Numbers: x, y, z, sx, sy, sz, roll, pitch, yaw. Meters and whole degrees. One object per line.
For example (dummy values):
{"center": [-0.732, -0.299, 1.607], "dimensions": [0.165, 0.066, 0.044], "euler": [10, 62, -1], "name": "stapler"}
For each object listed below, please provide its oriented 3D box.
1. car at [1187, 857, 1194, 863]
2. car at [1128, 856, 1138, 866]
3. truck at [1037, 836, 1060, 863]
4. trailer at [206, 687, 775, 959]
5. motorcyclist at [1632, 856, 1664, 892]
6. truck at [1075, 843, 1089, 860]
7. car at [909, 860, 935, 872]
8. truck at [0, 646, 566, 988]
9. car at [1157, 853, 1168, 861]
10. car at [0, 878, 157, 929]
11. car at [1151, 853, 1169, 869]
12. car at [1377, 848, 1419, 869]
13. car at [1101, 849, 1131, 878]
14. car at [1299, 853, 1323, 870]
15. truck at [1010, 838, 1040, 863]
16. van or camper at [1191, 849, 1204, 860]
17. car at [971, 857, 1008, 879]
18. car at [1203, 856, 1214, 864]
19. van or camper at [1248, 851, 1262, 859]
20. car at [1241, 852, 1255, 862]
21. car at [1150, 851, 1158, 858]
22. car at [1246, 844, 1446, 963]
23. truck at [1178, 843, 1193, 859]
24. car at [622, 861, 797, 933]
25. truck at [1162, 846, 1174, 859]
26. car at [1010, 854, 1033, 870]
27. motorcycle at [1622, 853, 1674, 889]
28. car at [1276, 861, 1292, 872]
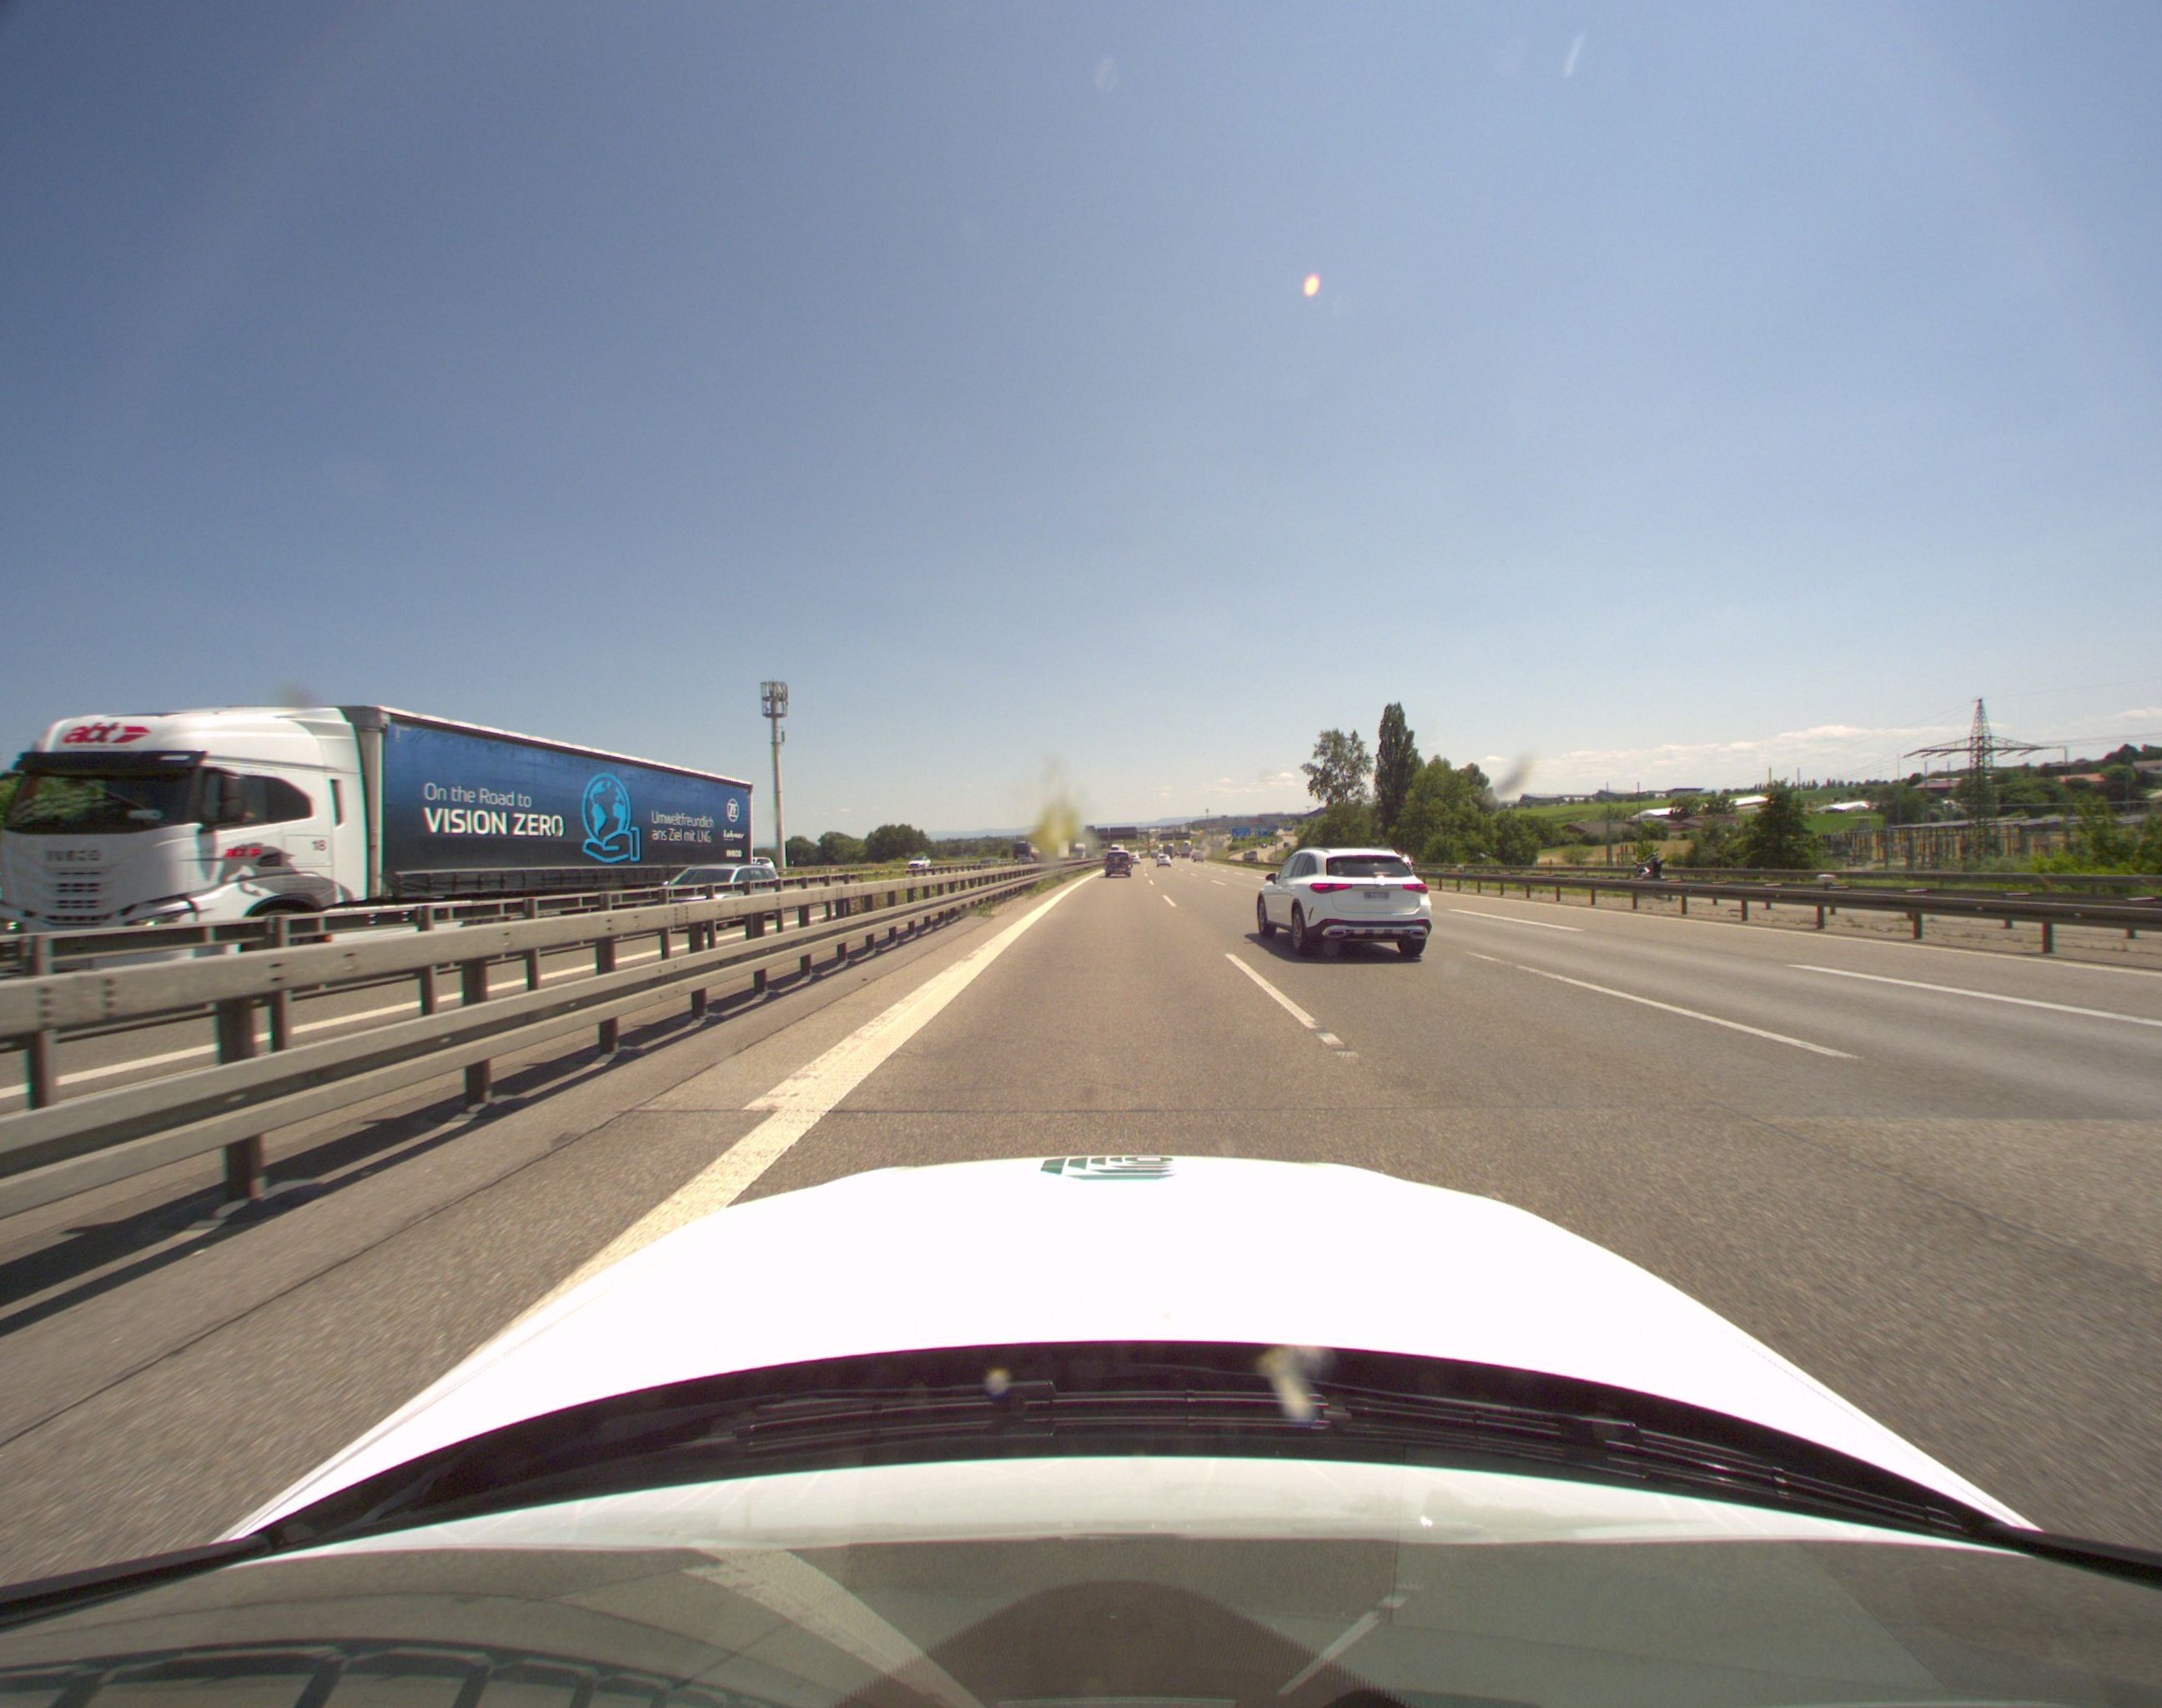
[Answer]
{"center": [29.583, 1.617, 220.110], "dimensions": [1.983, 1.690, 4.007], "euler": [0, 0, 6], "name": "car"}
{"center": [8.013, 1.118, 125.374], "dimensions": [1.569, 1.552, 3.968], "euler": [0, 0, 4], "name": "car"}
{"center": [-5.206, -0.716, 130.809], "dimensions": [2.954, 4.120, 7.605], "euler": [0, 0, 3], "name": "truck"}
{"center": [-12.235, -0.452, 20.375], "dimensions": [2.933, 4.342, 14.630], "euler": [0, 0, 3], "name": "trailer"}
{"center": [22.325, 0.779, 32.091], "dimensions": [0.666, 1.366, 0.879], "euler": [0, -1, 1], "name": "motorcyclist"}
{"center": [0.178, -0.589, 202.946], "dimensions": [2.867, 4.117, 6.394], "euler": [0, 0, 5], "name": "truck"}
{"center": [-18.862, 1.434, 97.059], "dimensions": [1.509, 1.401, 4.808], "euler": [-1, 0, 8], "name": "car"}
{"center": [-12.546, -0.447, 13.845], "dimensions": [2.916, 4.345, 6.920], "euler": [0, 0, 3], "name": "truck"}
{"center": [15.425, 0.605, 154.791], "dimensions": [1.973, 1.473, 4.005], "euler": [-1, 0, 4], "name": "car"}
{"center": [-29.216, 1.370, 22.798], "dimensions": [1.667, 1.224, 4.142], "euler": [-1, 0, 10], "name": "car"}
{"center": [9.814, 0.898, 100.980], "dimensions": [1.919, 1.919, 4.520], "euler": [0, 0, 2], "name": "car"}
{"center": [24.462, 0.345, 62.979], "dimensions": [1.694, 1.575, 4.128], "euler": [0, 0, 1], "name": "car"}
{"center": [2.476, 0.664, 56.659], "dimensions": [1.918, 1.919, 4.953], "euler": [0, 0, 4], "name": "car"}
{"center": [27.862, 0.886, 98.641], "dimensions": [1.930, 1.923, 4.184], "euler": [0, 0, 4], "name": "car"}
{"center": [-8.947, -0.529, 132.449], "dimensions": [3.205, 3.785, 12.913], "euler": [0, 0, 3], "name": "truck"}
{"center": [22.057, 0.043, 153.894], "dimensions": [2.146, 2.014, 4.310], "euler": [0, 0, 5], "name": "van or camper"}
{"center": [-6.436, 0.990, 57.812], "dimensions": [1.860, 1.464, 4.642], "euler": [-1, 0, 3], "name": "car"}
{"center": [28.974, 1.347, 185.727], "dimensions": [1.986, 1.690, 4.002], "euler": [0, 0, 2], "name": "car"}
{"center": [43.997, 0.154, 206.282], "dimensions": [2.522, 2.014, 4.458], "euler": [0, 0, -2], "name": "van or camper"}
{"center": [33.939, 0.626, 165.509], "dimensions": [1.987, 2.014, 4.000], "euler": [0, 0, 0], "name": "car"}
{"center": [20.132, 0.212, 225.315], "dimensions": [2.175, 2.003, 4.007], "euler": [0, 0, 6], "name": "car"}
{"center": [4.202, 0.703, 13.843], "dimensions": [1.891, 1.647, 5.000], "euler": [0, 0, 1], "name": "car"}
{"center": [31.701, -0.878, 246.883], "dimensions": [4.015, 4.261, 11.789], "euler": [-1, 2, 9], "name": "truck"}
{"center": [-8.695, 0.928, 19.601], "dimensions": [1.860, 1.464, 4.642], "euler": [-1, 0, 3], "name": "car"}
{"center": [22.980, -0.365, 213.981], "dimensions": [2.687, 3.109, 10.684], "euler": [0, 0, 9], "name": "truck"}
{"center": [-5.779, 0.756, 79.436], "dimensions": [1.671, 1.464, 4.708], "euler": [-1, 0, 3], "name": "car"}
{"center": [22.299, 0.669, 32.051], "dimensions": [0.757, 1.366, 1.869], "euler": [0, 0, 0], "name": "motorcycle"}
{"center": [29.609, 1.810, 118.862], "dimensions": [1.980, 1.596, 4.013], "euler": [0, 0, 12], "name": "car"}
